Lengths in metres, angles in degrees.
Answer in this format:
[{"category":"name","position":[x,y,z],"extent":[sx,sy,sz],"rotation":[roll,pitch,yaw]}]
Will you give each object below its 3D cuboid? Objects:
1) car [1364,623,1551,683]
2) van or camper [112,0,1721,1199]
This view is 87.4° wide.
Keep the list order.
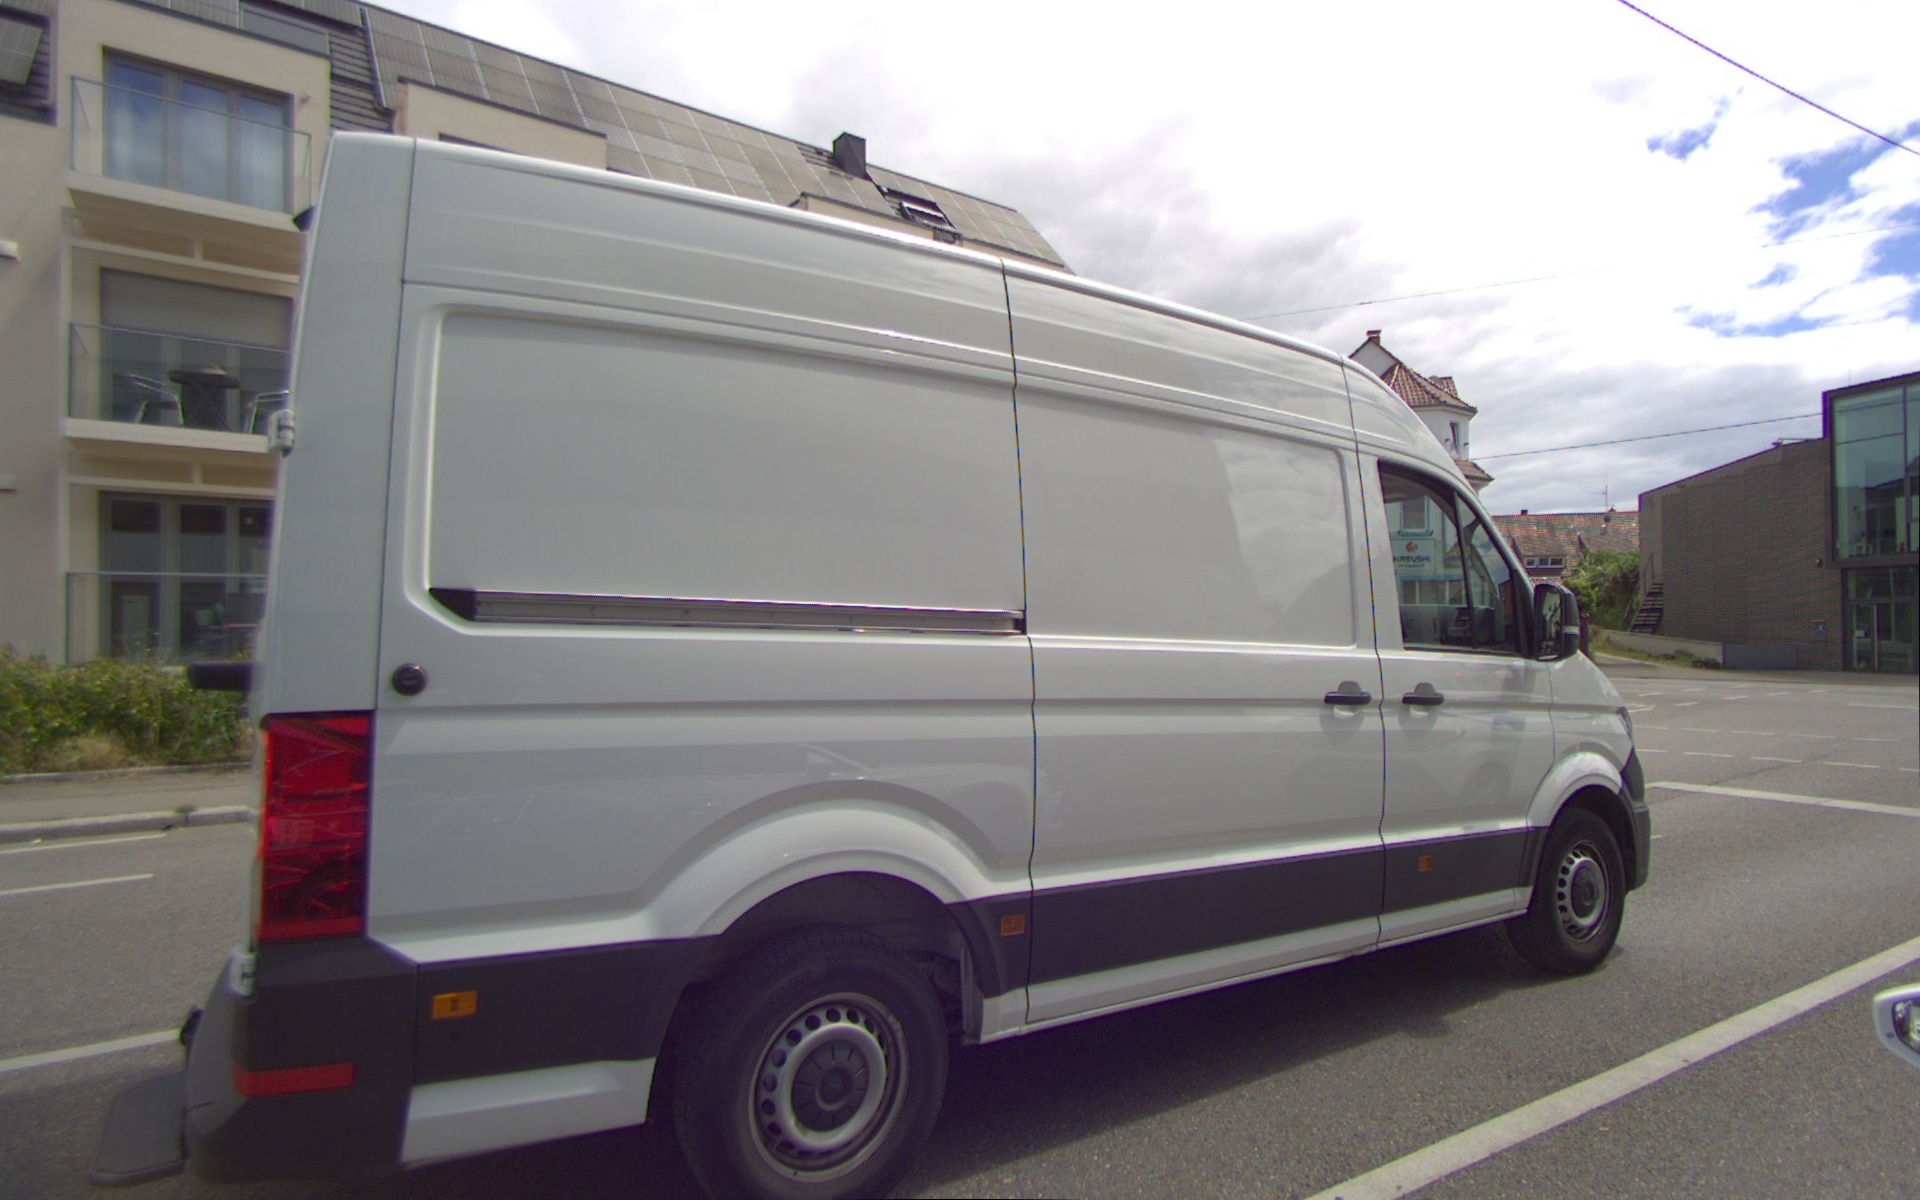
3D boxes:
[{"category":"car","position":[14.190,1.462,28.889],"extent":[1.879,1.475,4.468],"rotation":[1,0,-36]},{"category":"van or camper","position":[0.589,0.264,4.060],"extent":[5.856,2.614,2.014],"rotation":[1,-2,-32]}]
